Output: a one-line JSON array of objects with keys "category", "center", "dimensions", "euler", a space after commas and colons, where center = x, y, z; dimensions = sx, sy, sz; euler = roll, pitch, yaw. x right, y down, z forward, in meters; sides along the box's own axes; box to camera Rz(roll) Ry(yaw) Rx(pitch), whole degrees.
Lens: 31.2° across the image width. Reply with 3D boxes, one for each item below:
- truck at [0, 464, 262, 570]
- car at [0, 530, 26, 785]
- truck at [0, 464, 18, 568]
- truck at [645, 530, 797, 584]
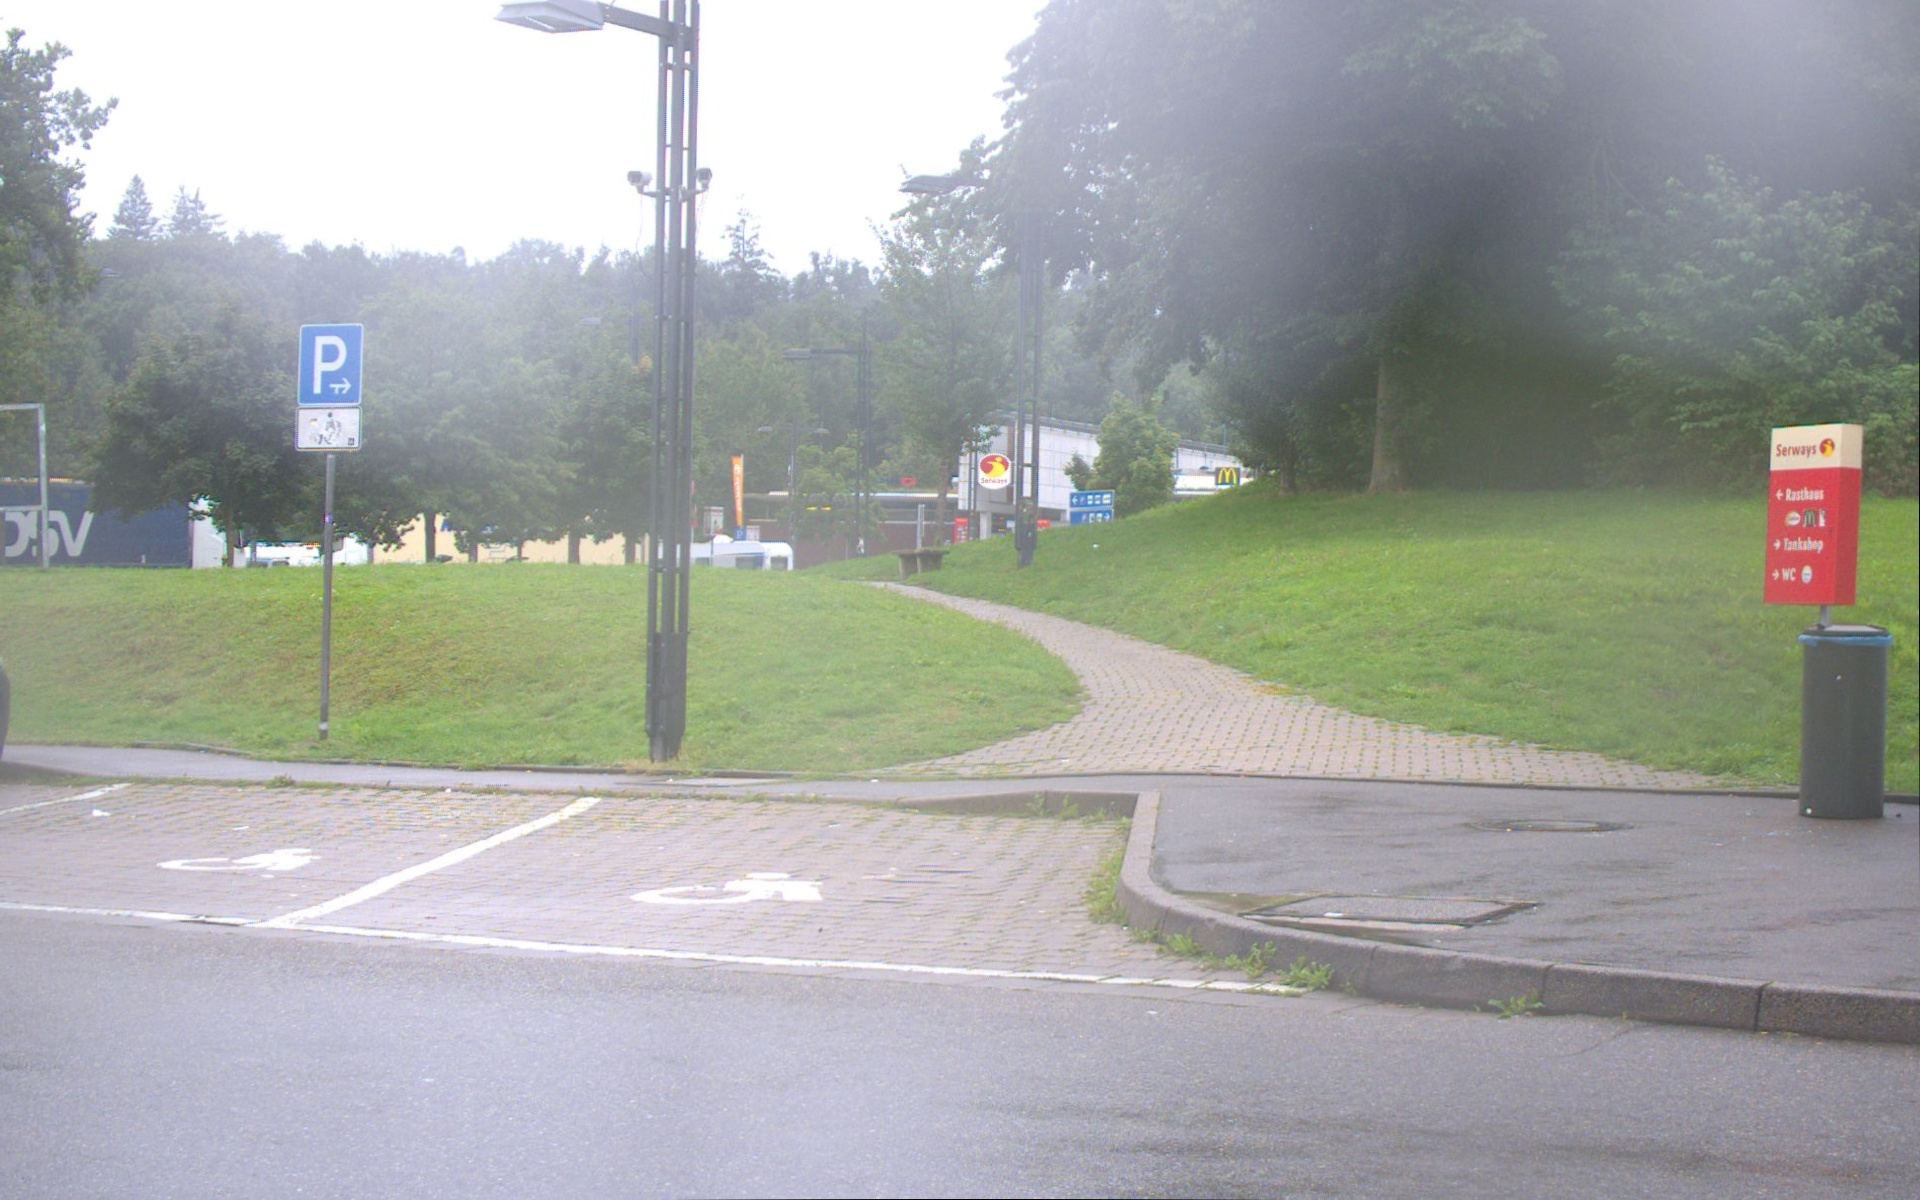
[{"category": "truck", "center": [-25.463, -2.380, 101.650], "dimensions": [2.188, 2.910, 13.082], "euler": [1, 1, 24]}, {"category": "car", "center": [-7.807, 0.448, 21.512], "dimensions": [2.018, 1.705, 4.341], "euler": [-1, 1, 12]}, {"category": "truck", "center": [-28.602, -2.355, 94.681], "dimensions": [2.189, 2.910, 5.380], "euler": [1, 1, 24]}, {"category": "truck", "center": [-9.323, -1.674, 133.827], "dimensions": [5.413, 2.007, 2.364], "euler": [1, 1, 25]}]
